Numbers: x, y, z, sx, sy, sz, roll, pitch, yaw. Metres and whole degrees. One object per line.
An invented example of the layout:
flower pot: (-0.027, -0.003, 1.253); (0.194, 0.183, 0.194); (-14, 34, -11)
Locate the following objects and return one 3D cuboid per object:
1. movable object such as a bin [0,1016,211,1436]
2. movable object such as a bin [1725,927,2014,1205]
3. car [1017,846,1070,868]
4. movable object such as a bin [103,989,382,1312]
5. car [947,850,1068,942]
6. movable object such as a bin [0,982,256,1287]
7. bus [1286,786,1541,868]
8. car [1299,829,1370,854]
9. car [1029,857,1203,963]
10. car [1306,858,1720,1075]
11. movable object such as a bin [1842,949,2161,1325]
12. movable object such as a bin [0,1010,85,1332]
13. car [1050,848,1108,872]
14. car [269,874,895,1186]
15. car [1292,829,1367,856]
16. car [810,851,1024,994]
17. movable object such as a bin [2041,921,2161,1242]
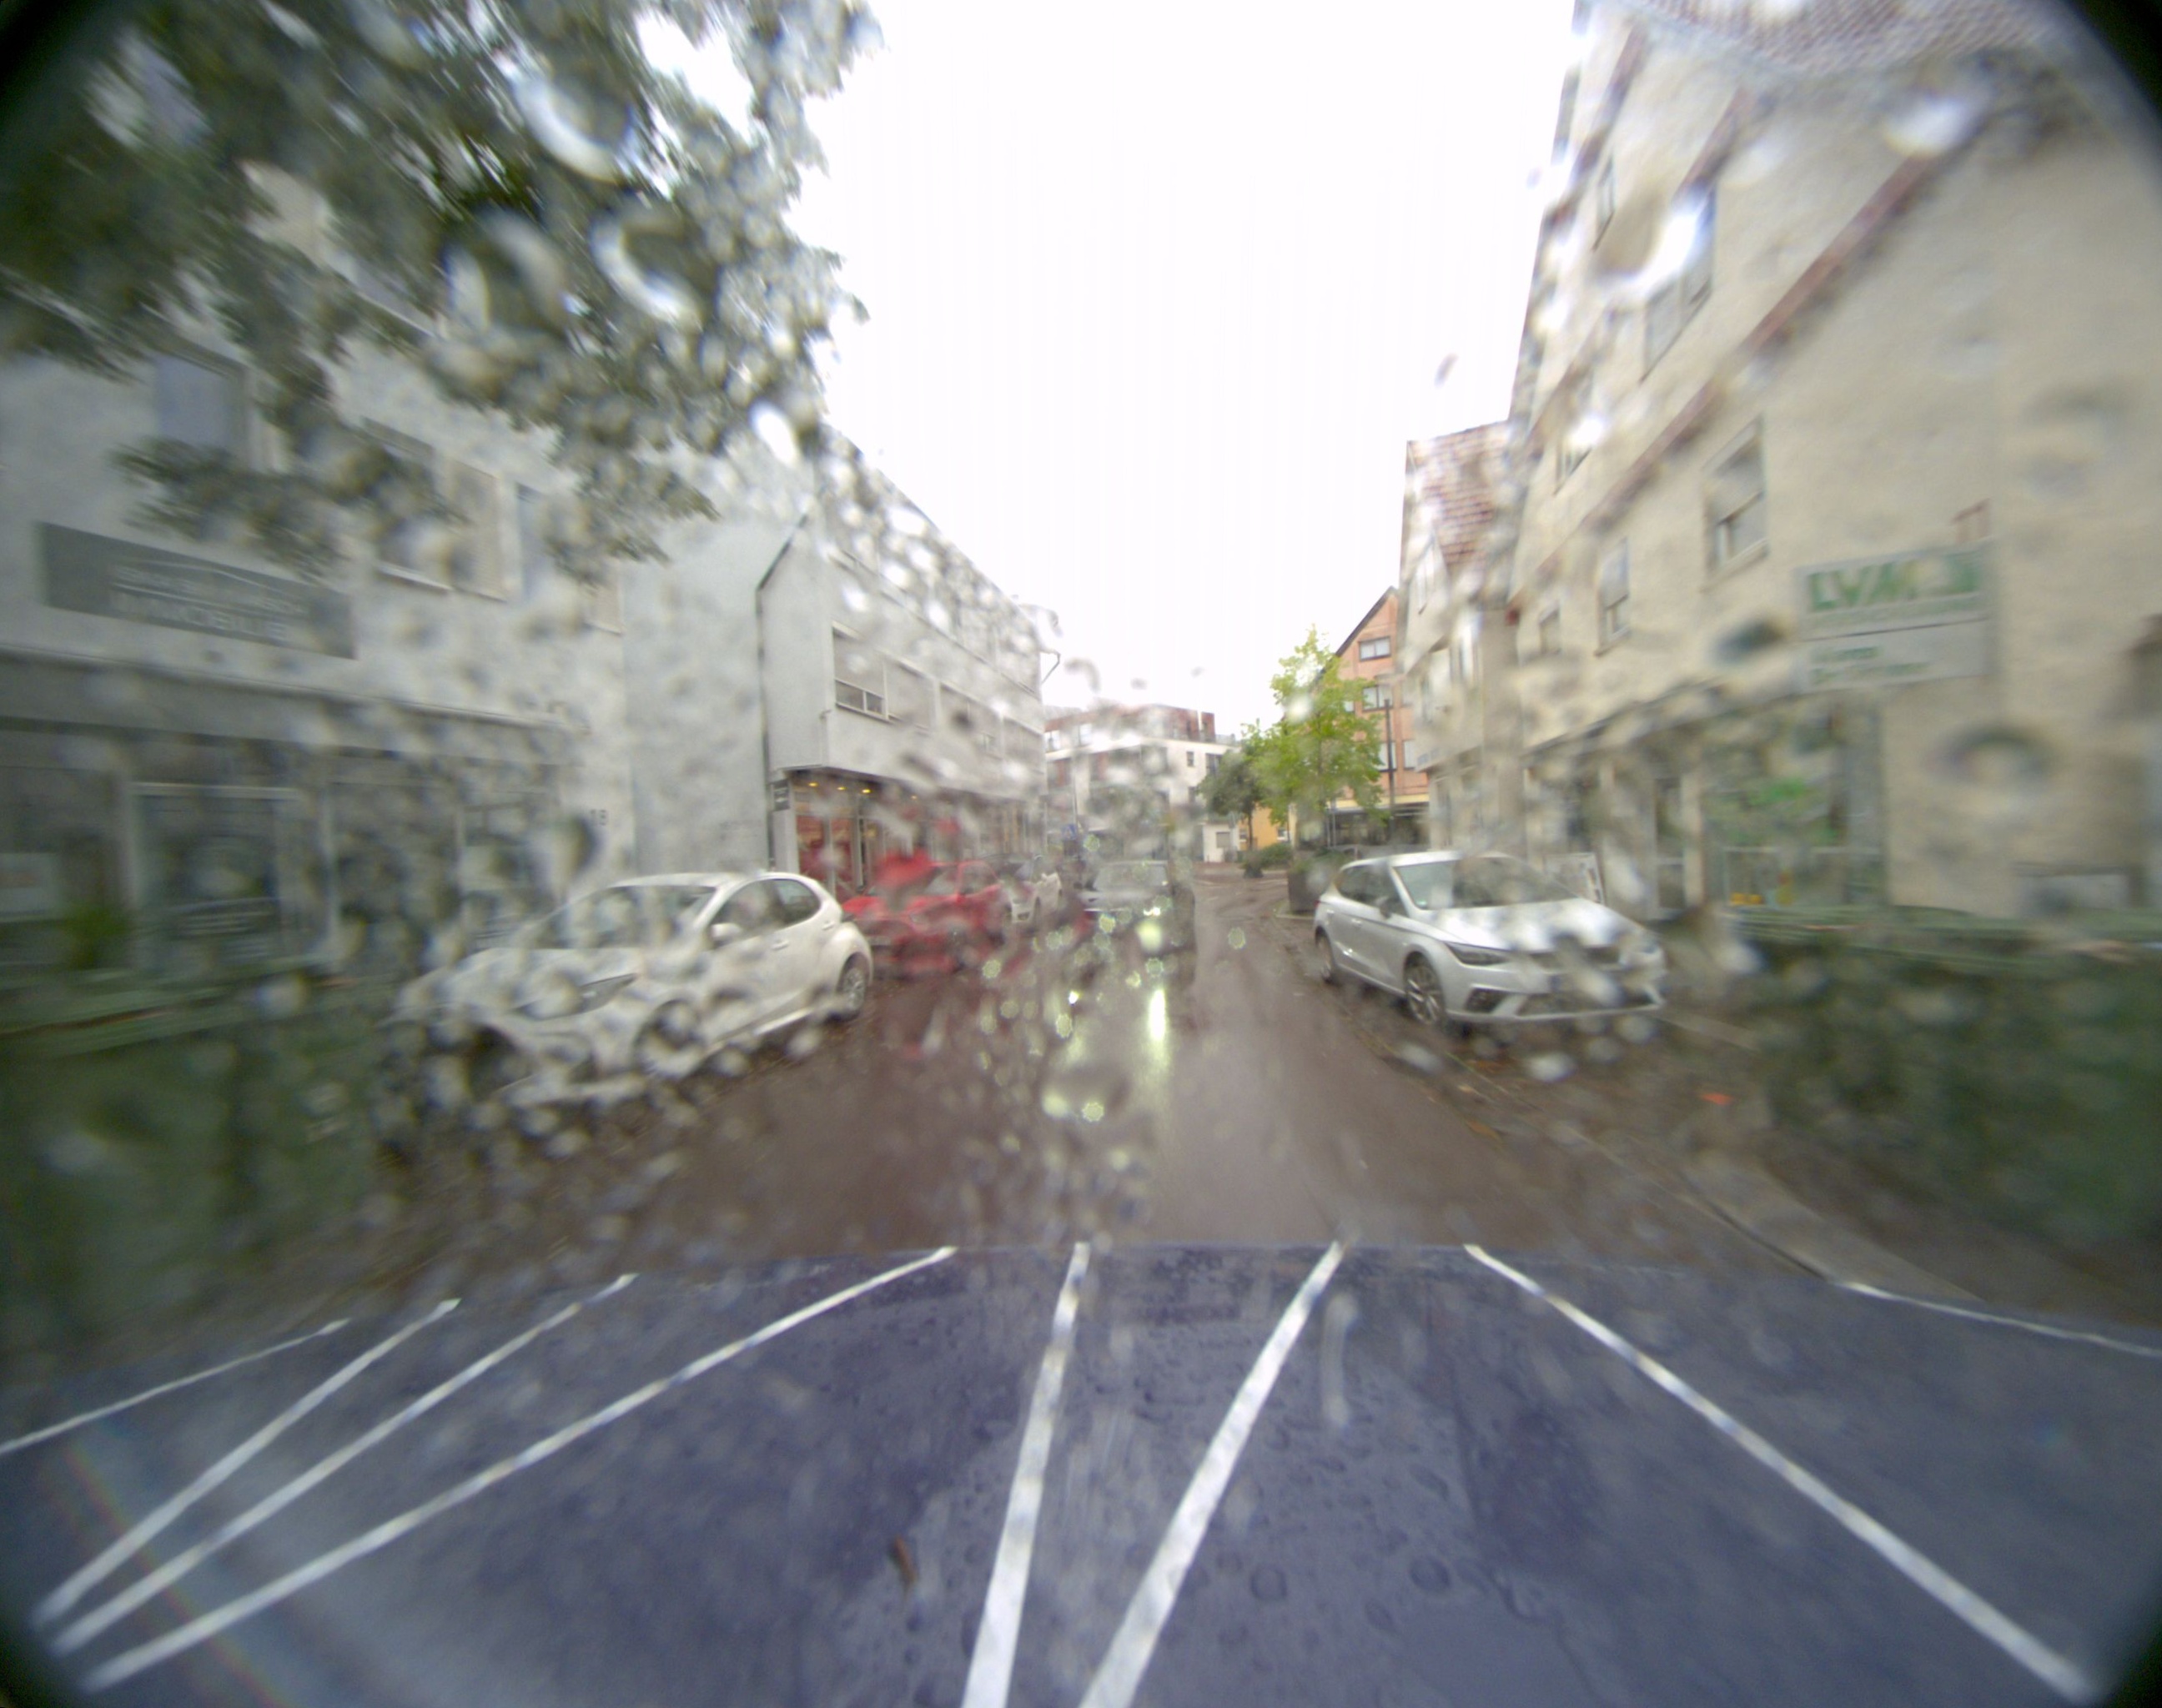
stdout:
movable object such as a bin: (-3.457, 1.182, 2.531); (0.478, 1.162, 0.489); (-2, 1, 2)
movable object such as a bin: (3.563, 0.926, 3.483); (0.693, 1.080, 0.546); (-5, 1, 3)
car: (-2.954, 0.267, 59.400); (3.989, 1.565, 1.722); (-2, 1, 39)
movable object such as a bin: (-3.451, 1.188, 3.171); (0.535, 1.143, 0.500); (-2, 1, 2)
car: (-1.482, 0.824, 17.018); (1.693, 1.680, 4.280); (-2, 1, 7)
movable object such as a bin: (-4.203, 1.188, 3.339); (0.531, 1.143, 0.500); (-2, 1, 2)
bus: (15.519, -1.147, 36.155); (10.666, 3.281, 2.684); (-2, 1, 27)
car: (16.484, -0.801, 49.403); (3.989, 1.477, 2.003); (-2, 1, 31)
car: (0.862, 0.843, 13.378); (1.996, 1.398, 4.899); (-3, 0, 15)
car: (3.566, 0.792, 7.179); (1.694, 1.414, 3.816); (-2, 0, 0)
movable object such as a bin: (3.375, 0.945, 2.720); (0.661, 1.103, 0.624); (-2, 1, 3)
movable object such as a bin: (-4.272, 1.200, 2.726); (0.545, 1.143, 0.585); (-2, 1, 2)
car: (-0.191, 0.445, 55.382); (3.989, 1.565, 1.722); (-2, 1, 39)
car: (-3.277, 1.004, 6.257); (1.693, 1.530, 4.407); (-2, -1, 10)
car: (15.406, -0.718, 47.096); (3.989, 1.477, 2.003); (-2, 1, 31)
car: (-2.202, 0.860, 11.405); (1.693, 1.680, 3.960); (-2, 1, 10)
movable object such as a bin: (4.189, 0.829, 2.735); (0.661, 1.103, 0.624); (-2, 1, 3)
